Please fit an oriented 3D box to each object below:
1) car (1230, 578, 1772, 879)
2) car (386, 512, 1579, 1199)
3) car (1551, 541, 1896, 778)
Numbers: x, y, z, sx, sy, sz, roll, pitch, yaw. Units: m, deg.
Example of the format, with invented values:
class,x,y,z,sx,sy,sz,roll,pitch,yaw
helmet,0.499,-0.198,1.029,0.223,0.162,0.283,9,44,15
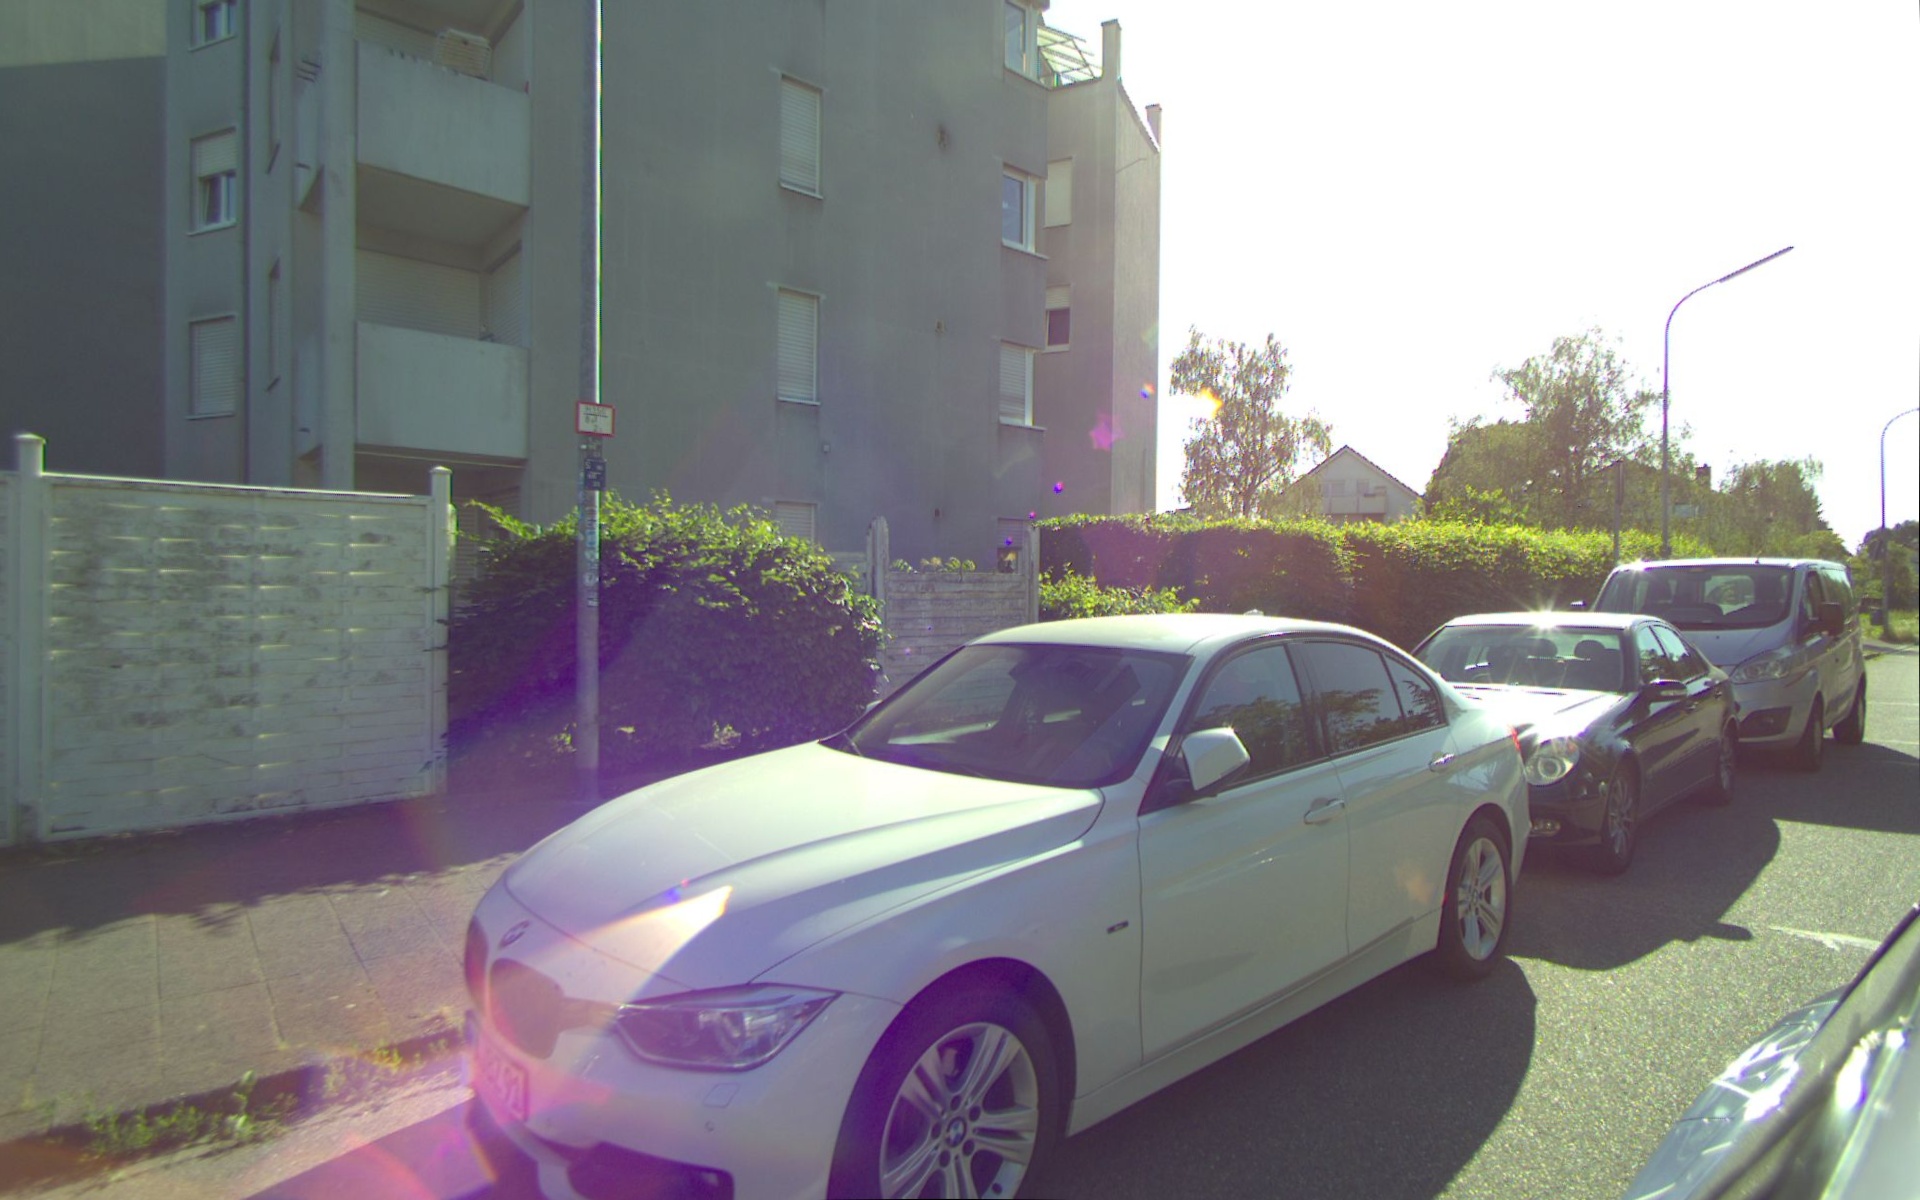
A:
class,x,y,z,sx,sy,sz,roll,pitch,yaw
car,4.119,0.574,7.246,4.841,1.435,1.996,-1,2,-43
car,0.463,0.568,3.793,4.298,1.507,1.913,-1,1,-40
car,8.169,0.443,10.638,4.868,1.936,1.997,-1,1,-42
